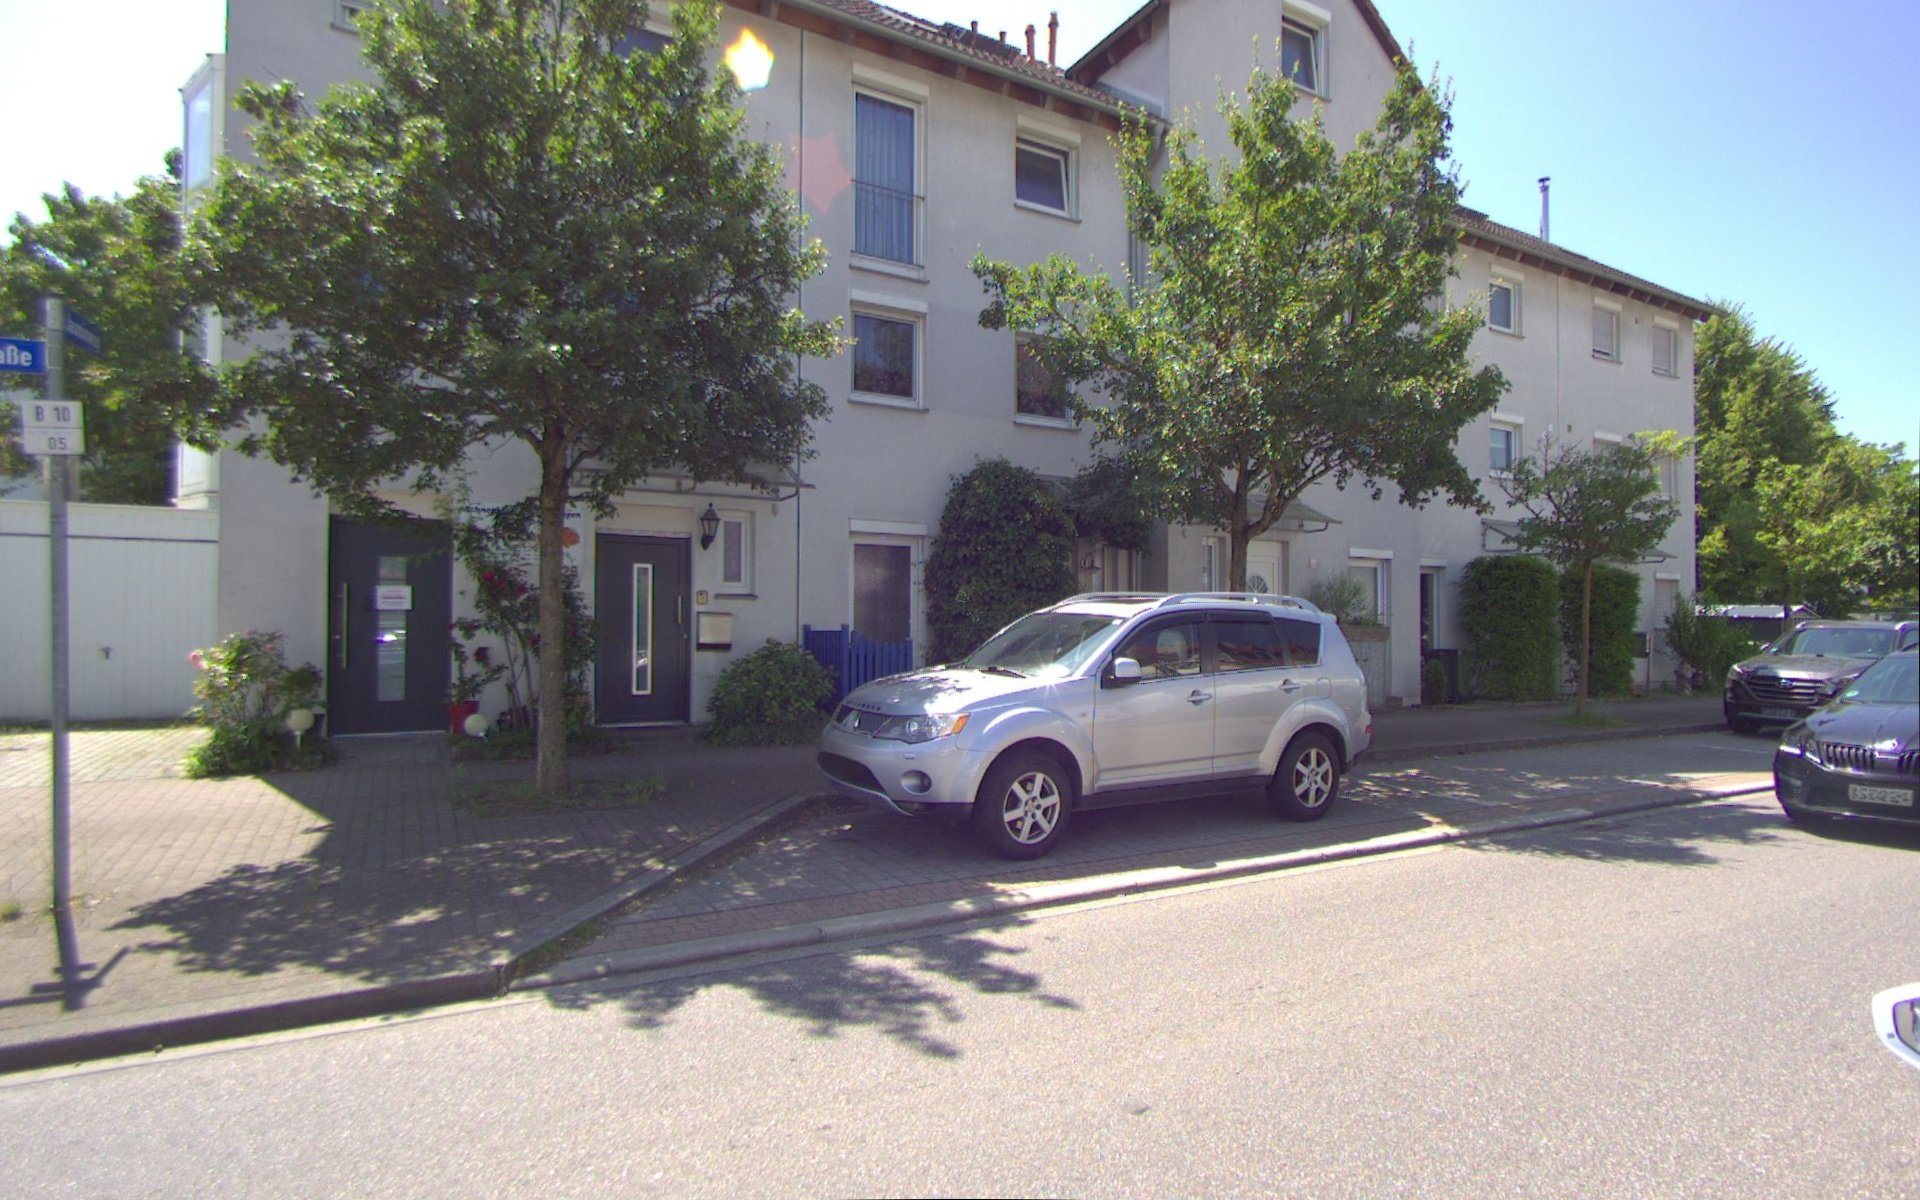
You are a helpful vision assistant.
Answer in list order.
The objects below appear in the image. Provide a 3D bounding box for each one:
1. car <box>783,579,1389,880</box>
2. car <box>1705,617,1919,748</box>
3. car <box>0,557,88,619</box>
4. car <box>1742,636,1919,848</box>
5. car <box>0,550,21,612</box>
[{"bbox_3d":[1.086,0.777,7.598,4.474,1.709,1.697,1,0,-31],"label":"car"},{"bbox_3d":[12.661,1.092,14.451,3.950,1.641,1.684,1,-1,-30],"label":"car"},{"bbox_3d":[-23.961,-0.337,25.341,1.668,1.447,3.980,1,1,-21],"label":"car"},{"bbox_3d":[8.380,1.023,8.178,4.205,1.465,1.711,1,-3,-30],"label":"car"},{"bbox_3d":[-26.098,-0.518,25.334,1.720,1.645,3.988,3,0,-14],"label":"car"}]
